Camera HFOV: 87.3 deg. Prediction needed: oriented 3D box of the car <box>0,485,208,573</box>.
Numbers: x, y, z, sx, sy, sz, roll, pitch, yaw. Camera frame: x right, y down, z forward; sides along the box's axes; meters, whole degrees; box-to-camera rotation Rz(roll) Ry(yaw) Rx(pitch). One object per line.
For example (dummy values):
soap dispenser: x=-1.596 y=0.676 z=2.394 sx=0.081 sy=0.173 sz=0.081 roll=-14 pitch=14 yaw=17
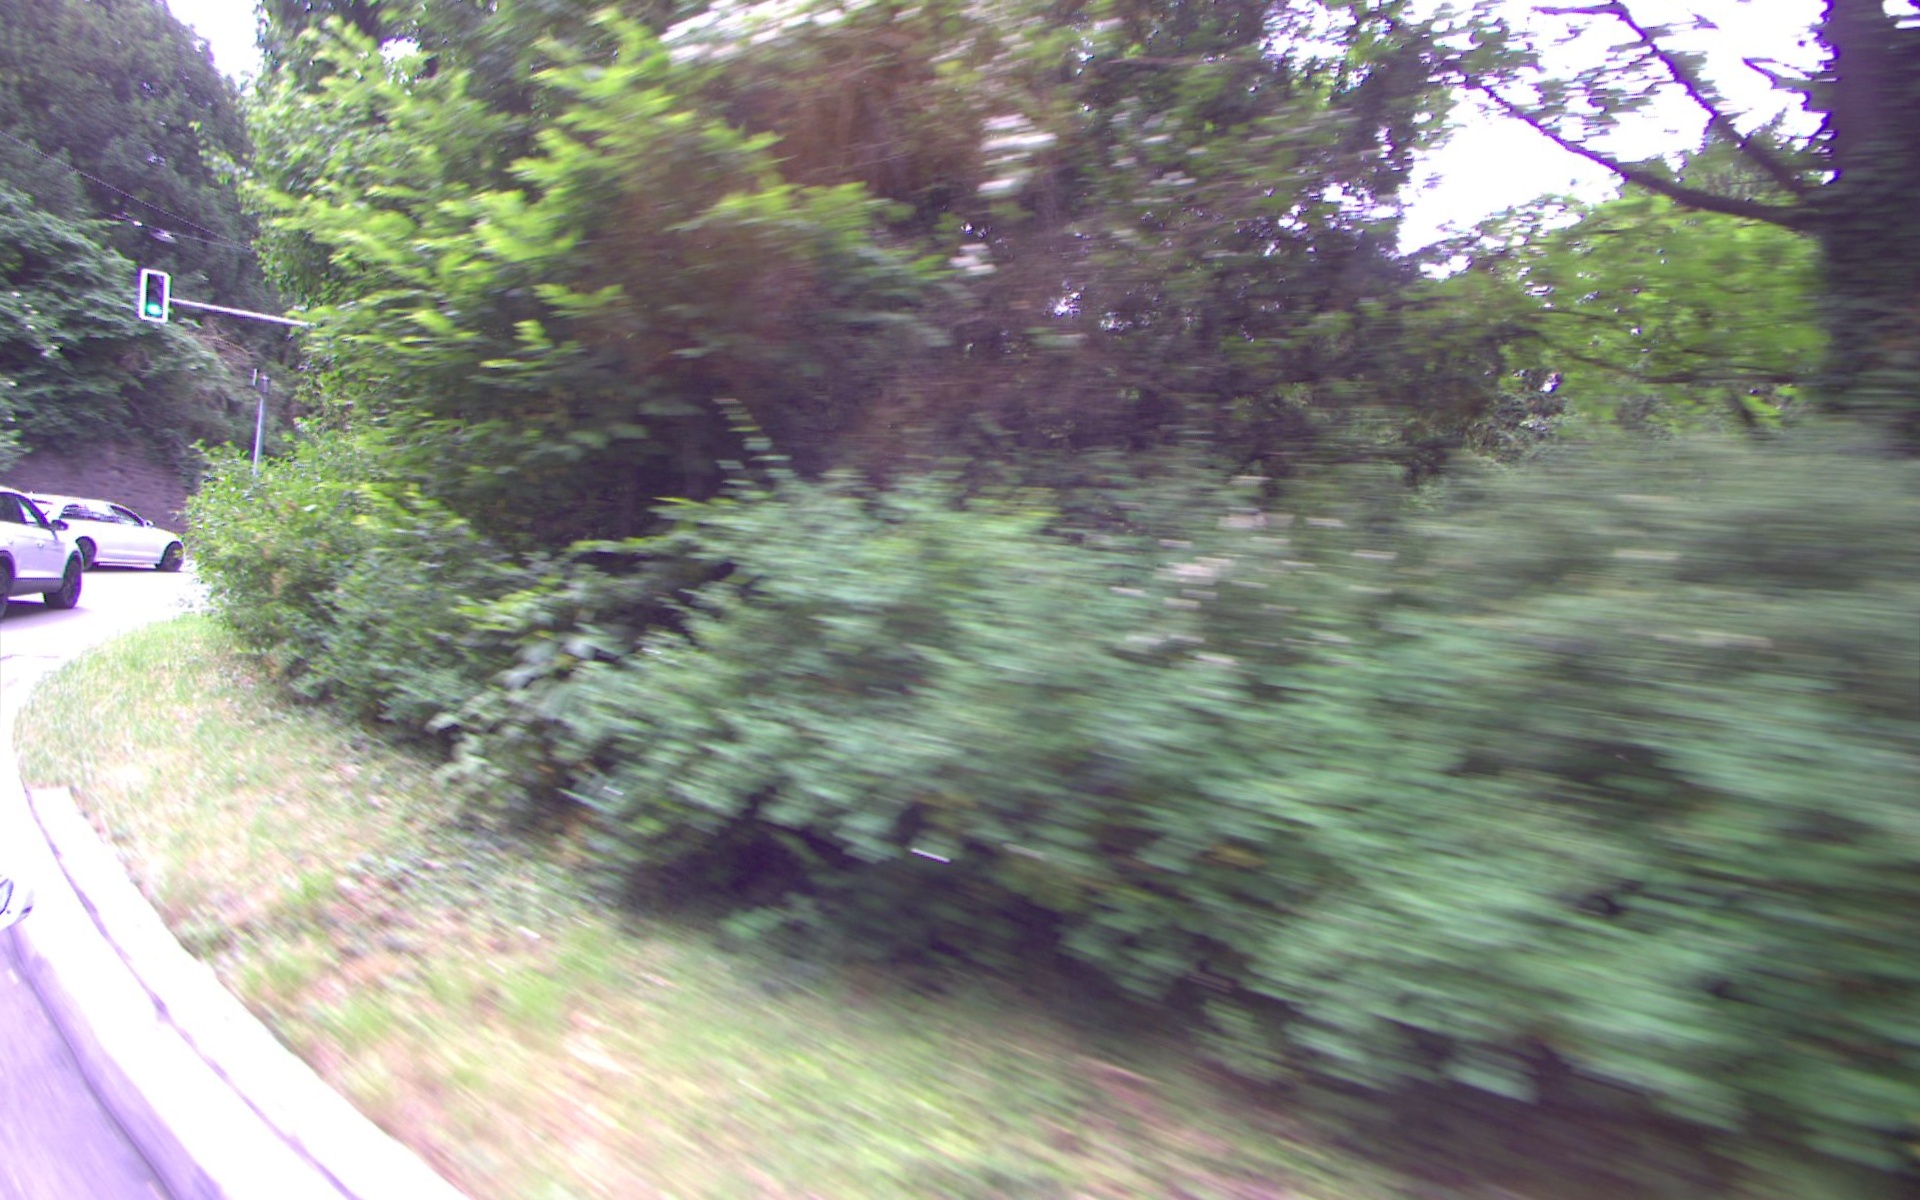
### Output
car: x=-18.566 y=-1.459 z=21.575 sx=1.839 sy=1.553 sz=4.766 roll=6 pitch=1 yaw=-10

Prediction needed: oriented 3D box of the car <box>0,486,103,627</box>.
car: x=-12.195 y=-0.654 z=12.219 sx=1.740 sy=1.572 sz=4.305 roll=7 pitch=0 yaw=-29
